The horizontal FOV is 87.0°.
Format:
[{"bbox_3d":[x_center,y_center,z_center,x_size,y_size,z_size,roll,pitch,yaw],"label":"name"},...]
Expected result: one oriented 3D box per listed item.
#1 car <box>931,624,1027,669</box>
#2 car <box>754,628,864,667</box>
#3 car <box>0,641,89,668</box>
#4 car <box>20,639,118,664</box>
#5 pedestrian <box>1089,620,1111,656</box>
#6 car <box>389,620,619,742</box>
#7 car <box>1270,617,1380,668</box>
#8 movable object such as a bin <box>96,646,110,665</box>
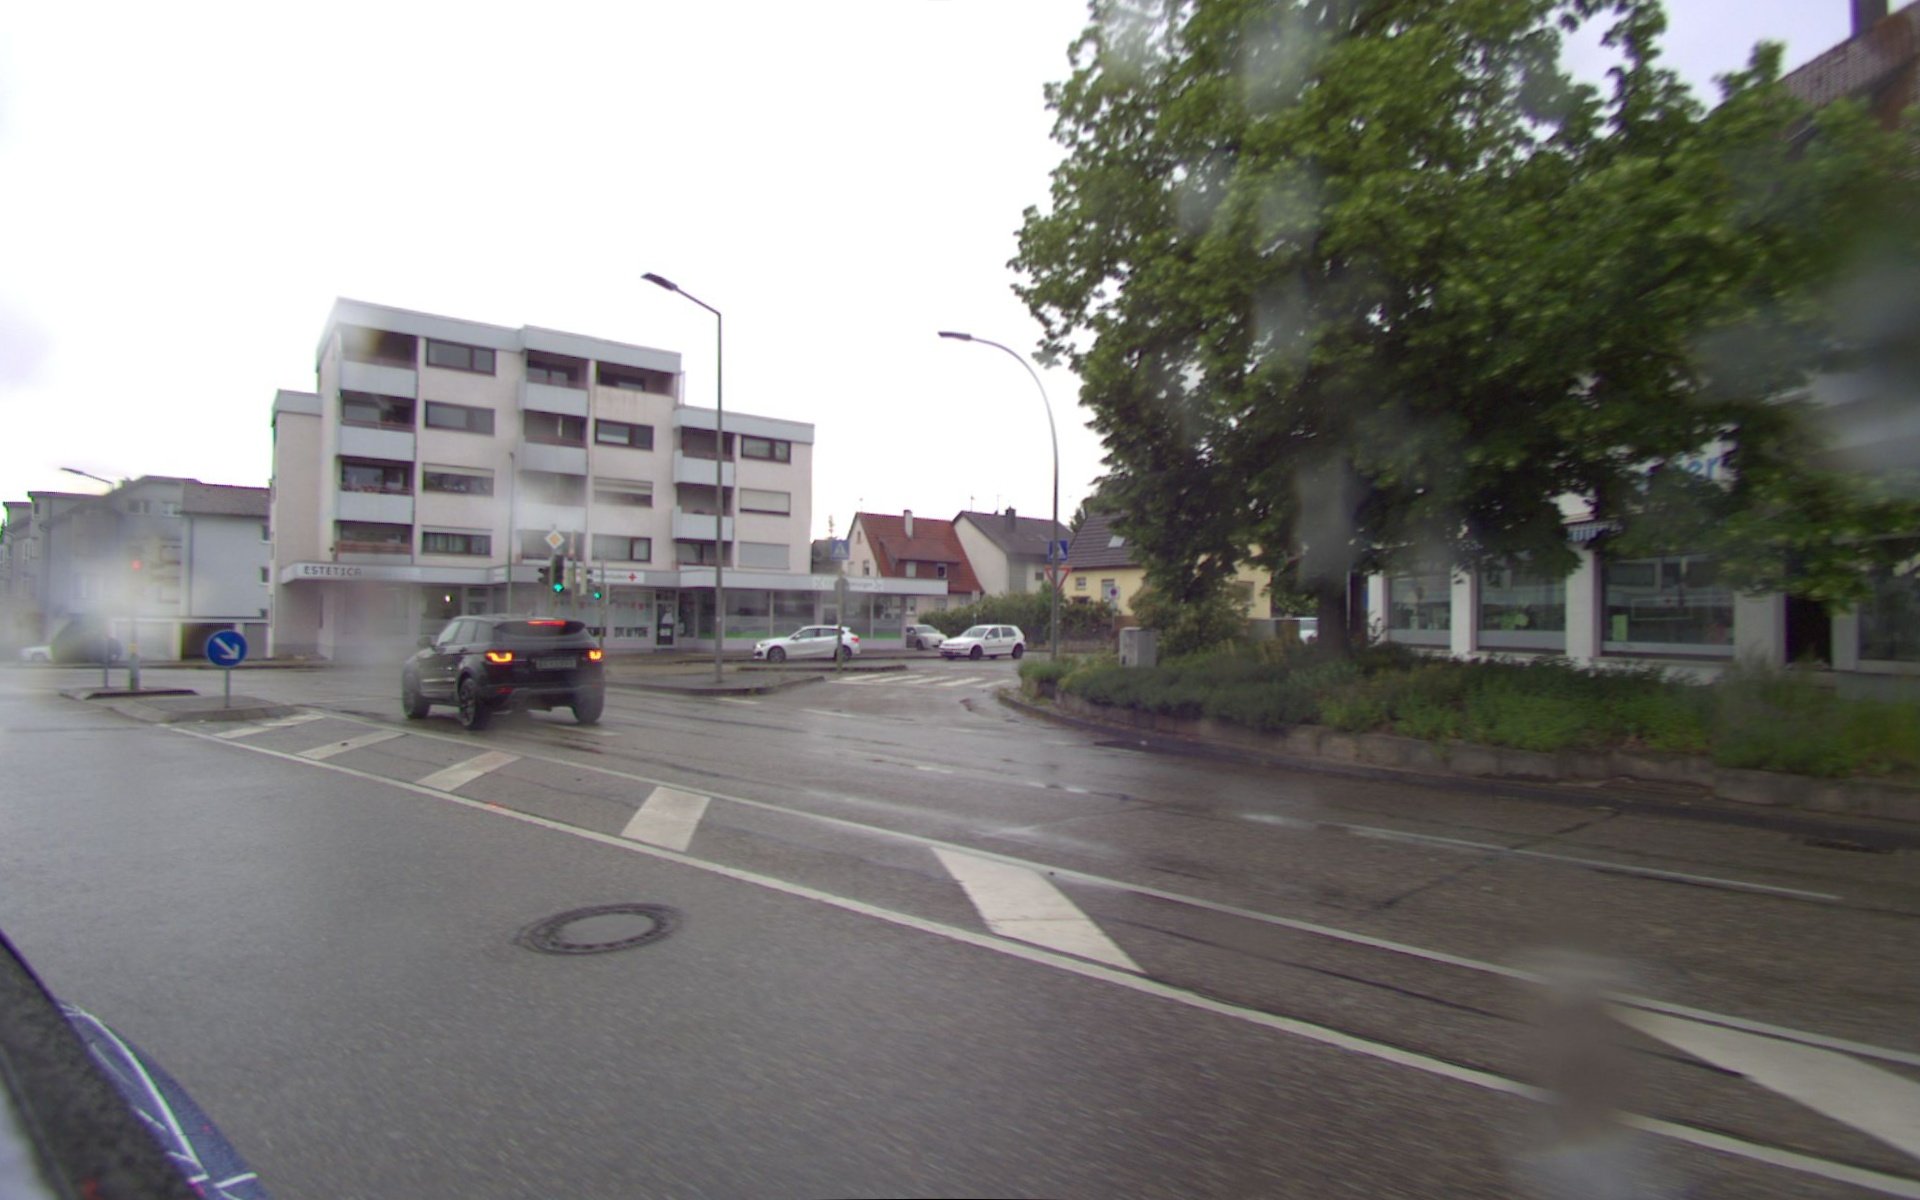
[{"bbox_3d":[0.841,1.914,42.515,3.860,1.746,1.836,1,-2,-44],"label":"car"},{"bbox_3d":[-6.088,1.878,40.673,4.215,1.445,1.840,0,-2,-14],"label":"car"},{"bbox_3d":[-61.023,3.592,66.511,5.387,1.697,2.154,0,-3,-32],"label":"car"},{"bbox_3d":[-56.731,3.262,64.467,1.930,1.508,4.559,-3,-3,44],"label":"car"},{"bbox_3d":[7.233,1.959,52.447,0.713,1.872,0.851,1,-2,-37],"label":"pedestrian"},{"bbox_3d":[-6.988,1.127,15.282,1.782,1.569,4.321,1,-3,-45],"label":"car"},{"bbox_3d":[11.781,1.365,32.977,1.971,1.537,4.001,-1,-2,-2],"label":"car"},{"bbox_3d":[-44.931,2.903,53.067,0.492,0.968,0.602,1,-3,-38],"label":"movable object such as a bin"}]
